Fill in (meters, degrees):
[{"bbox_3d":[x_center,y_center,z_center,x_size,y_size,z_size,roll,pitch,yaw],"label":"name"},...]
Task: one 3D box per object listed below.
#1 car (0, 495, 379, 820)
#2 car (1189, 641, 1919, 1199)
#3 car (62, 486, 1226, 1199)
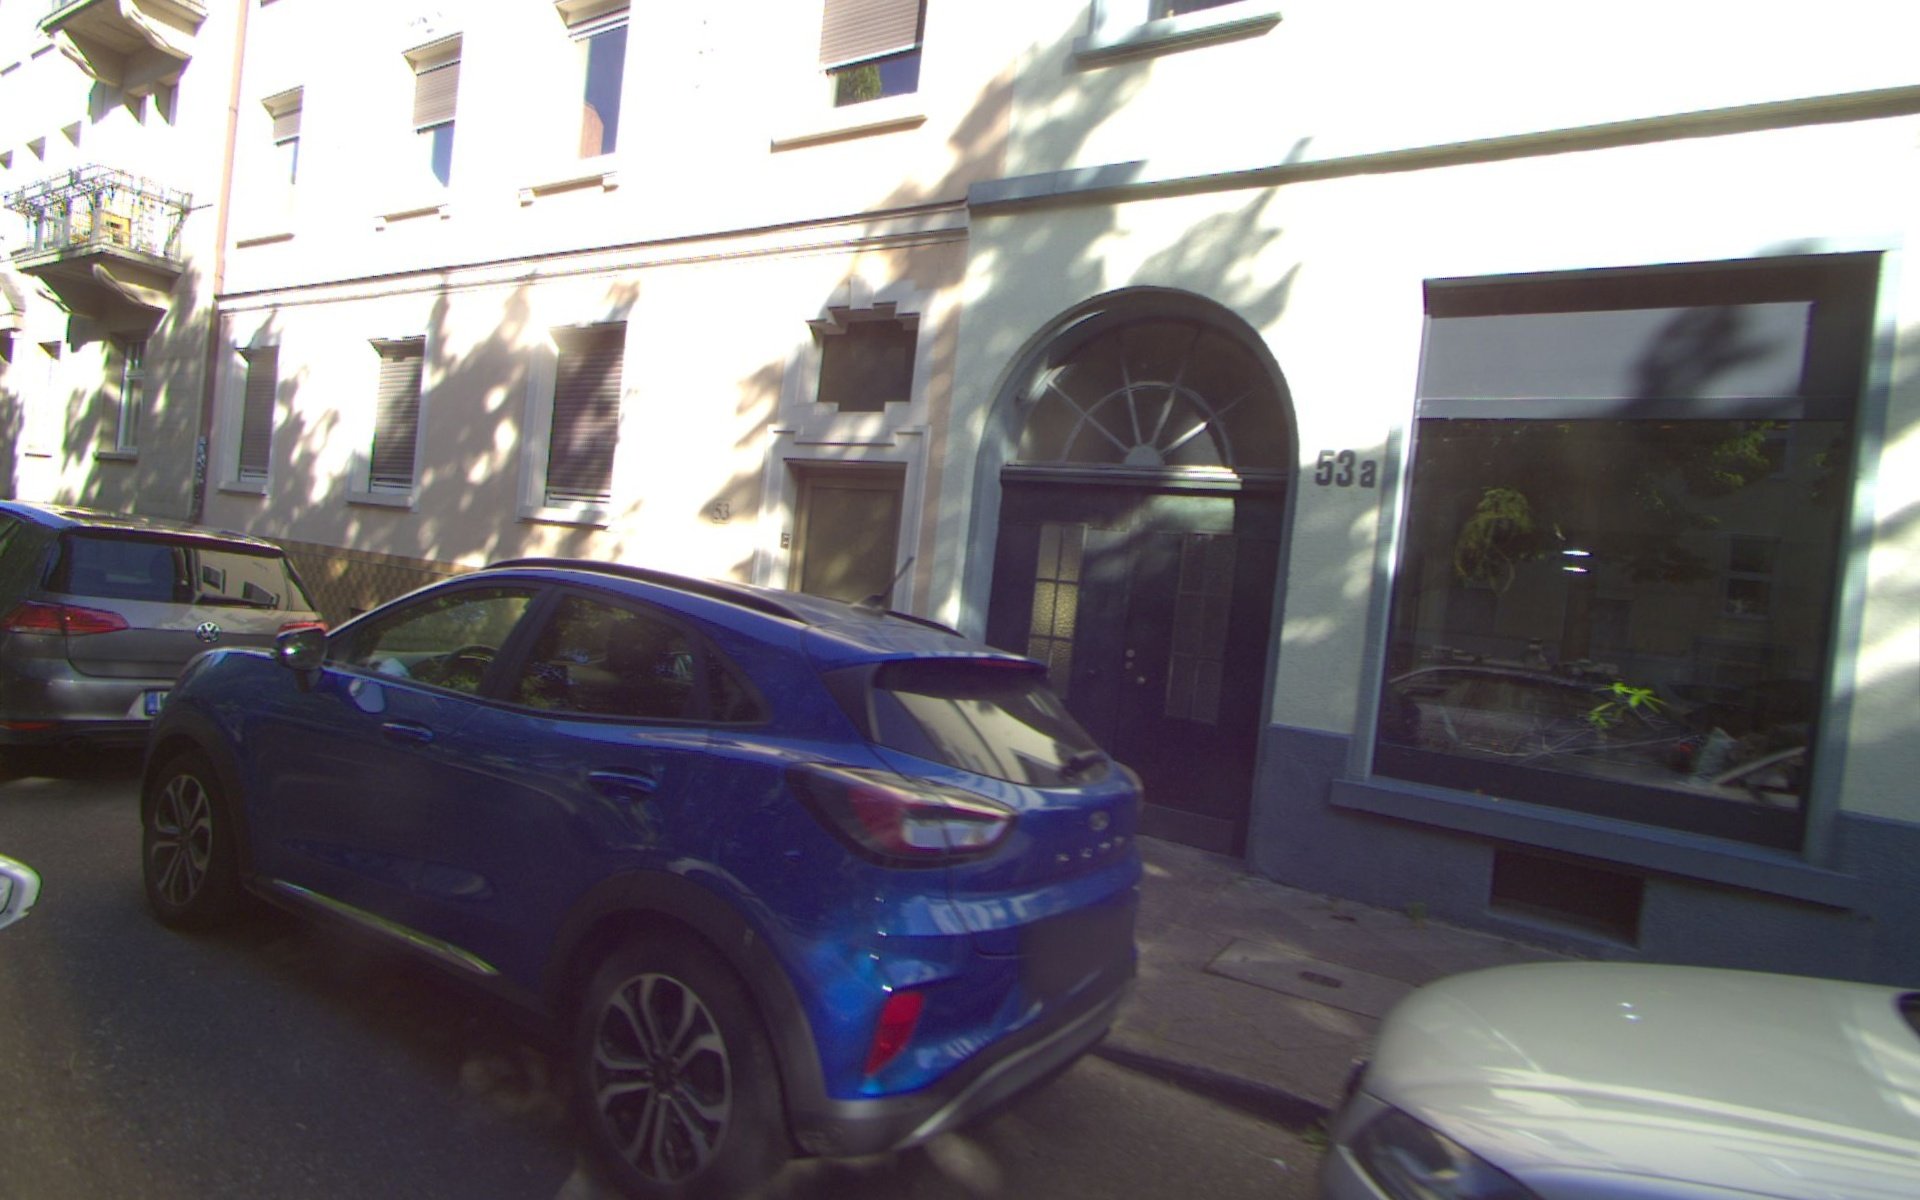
[{"bbox_3d":[-5.675,0.150,6.384,3.939,1.485,1.695,7,-1,32],"label":"car"},{"bbox_3d":[2.633,1.076,1.290,4.220,1.449,1.772,7,0,32],"label":"car"},{"bbox_3d":[-1.370,0.616,3.787,4.114,1.570,1.770,7,-1,31],"label":"car"}]
